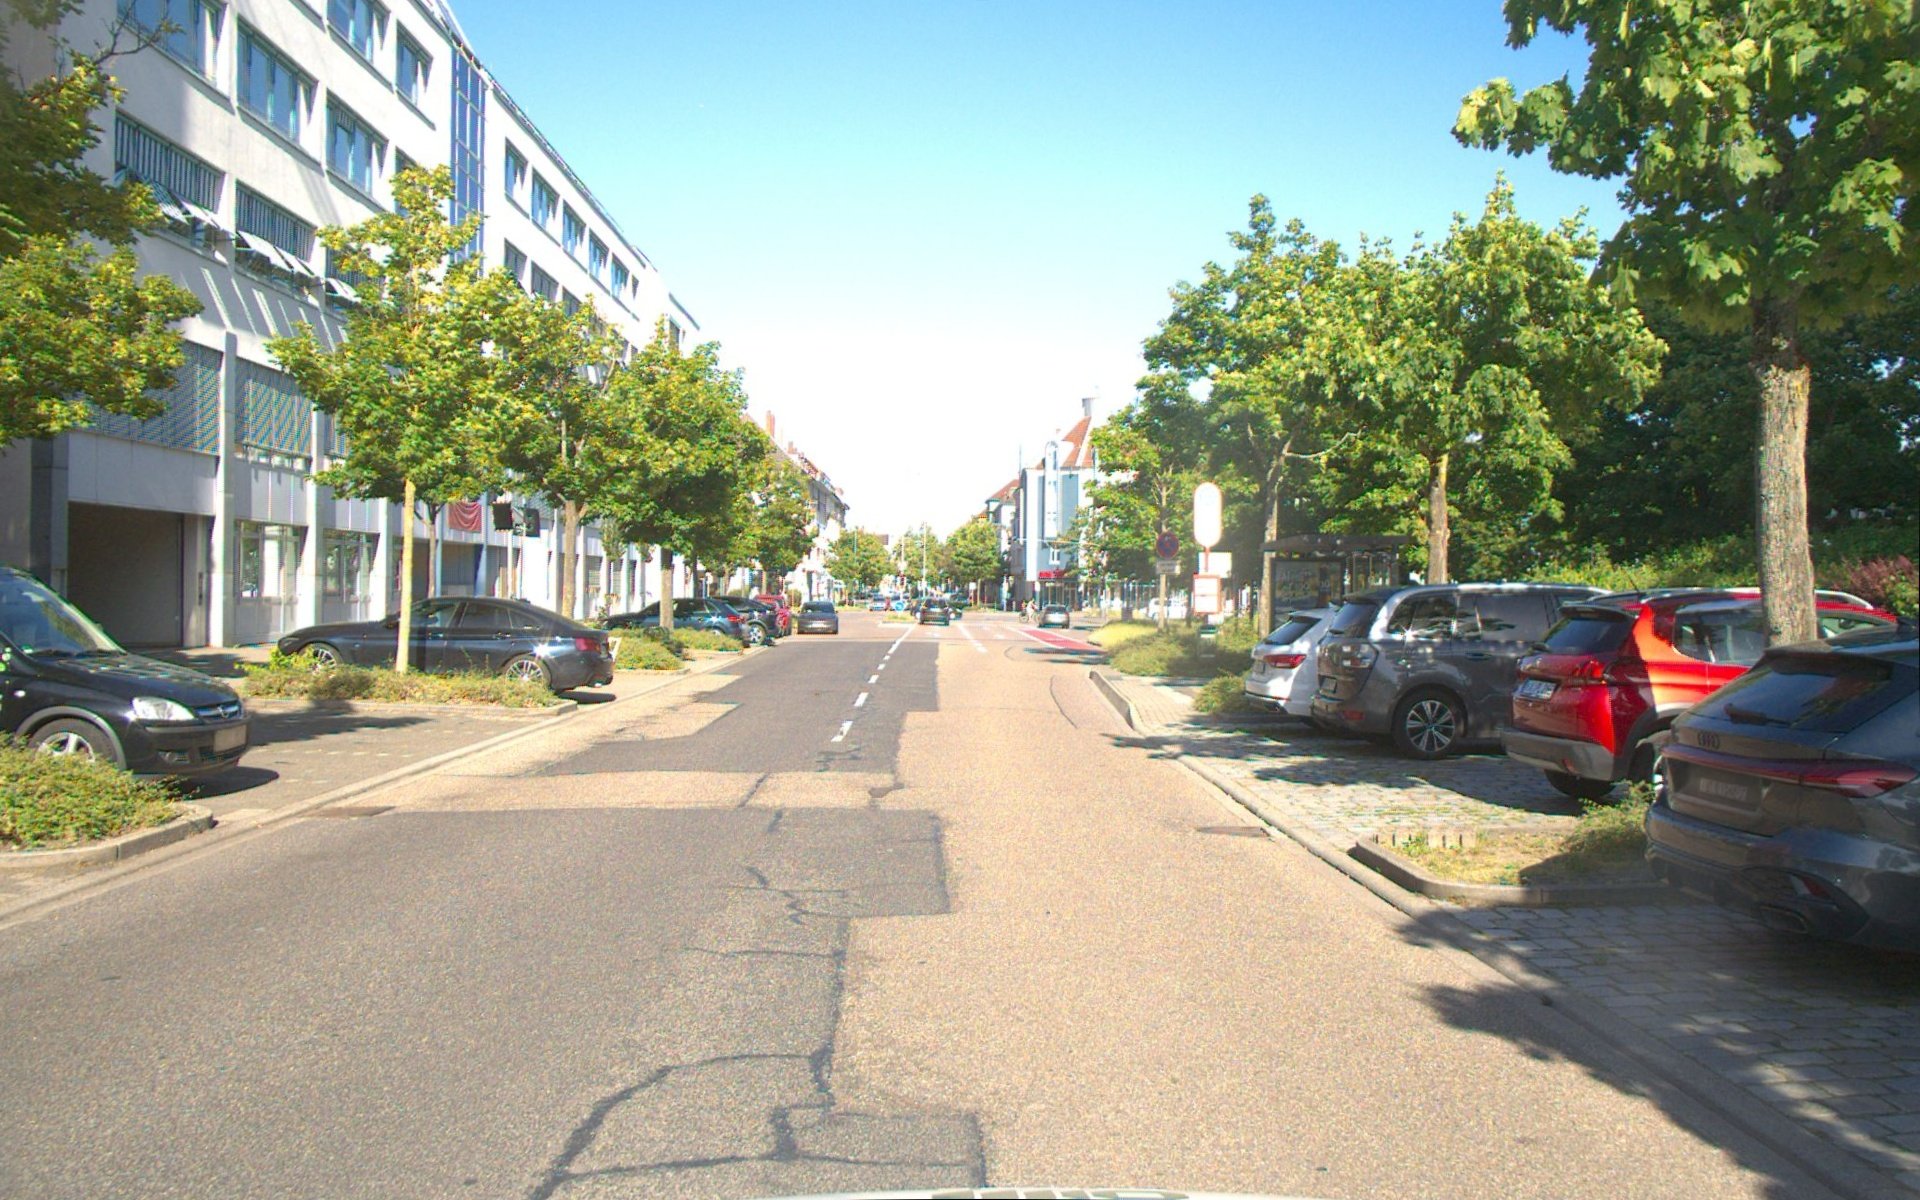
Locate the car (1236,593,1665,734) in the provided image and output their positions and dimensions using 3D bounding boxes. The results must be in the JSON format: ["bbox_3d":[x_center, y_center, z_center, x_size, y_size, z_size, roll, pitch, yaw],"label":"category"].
[{"bbox_3d":[5.468,0.685,18.815,4.312,1.489,1.895,0,0,-1],"label":"car"}]

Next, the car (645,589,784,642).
[{"bbox_3d":[-7.935,0.490,53.753,4.299,1.457,1.692,3,0,-4],"label":"car"}]

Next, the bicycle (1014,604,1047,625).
[{"bbox_3d":[4.912,1.000,115.064,2.216,1.371,0.790,0,0,34],"label":"bicycle"}]

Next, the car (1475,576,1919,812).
[{"bbox_3d":[6.209,0.623,12.069,4.312,1.563,1.876,0,0,-1],"label":"car"}]

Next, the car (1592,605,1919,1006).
[{"bbox_3d":[5.266,0.741,7.102,4.312,1.434,2.074,0,0,-1],"label":"car"}]

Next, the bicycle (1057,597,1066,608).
[{"bbox_3d":[9.415,0.206,153.594,0.463,1.045,1.511,0,0,-13],"label":"bicycle"}]

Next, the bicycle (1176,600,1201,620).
[{"bbox_3d":[16.130,0.694,116.751,0.777,1.371,2.254,0,0,36],"label":"bicycle"}]

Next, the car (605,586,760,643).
[{"bbox_3d":[-8.282,0.432,49.577,4.295,1.457,1.694,3,0,1],"label":"car"}]

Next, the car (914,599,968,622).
[{"bbox_3d":[-1.395,0.764,119.902,3.872,1.628,1.675,0,0,-3],"label":"car"}]

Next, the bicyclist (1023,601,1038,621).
[{"bbox_3d":[4.908,0.735,115.078,0.689,1.371,0.790,0,0,33],"label":"bicyclist"}]

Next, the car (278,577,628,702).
[{"bbox_3d":[-7.004,0.535,23.267,4.300,1.457,1.975,3,0,-5],"label":"car"}]

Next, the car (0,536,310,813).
[{"bbox_3d":[-7.257,0.419,11.947,4.296,1.775,1.847,3,0,0],"label":"car"}]

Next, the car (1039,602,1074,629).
[{"bbox_3d":[6.142,0.956,105.545,1.655,1.605,3.868,3,0,-4],"label":"car"}]

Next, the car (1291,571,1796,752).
[{"bbox_3d":[5.687,0.570,16.535,4.312,1.670,2.074,0,0,-1],"label":"car"}]

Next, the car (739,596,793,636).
[{"bbox_3d":[-7.596,0.610,64.953,1.654,1.457,3.870,3,0,-1],"label":"car"}]

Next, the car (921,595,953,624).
[{"bbox_3d":[-1.438,0.568,101.485,1.719,1.656,4.476,3,0,-2],"label":"car"}]

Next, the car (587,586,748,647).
[{"bbox_3d":[-8.238,0.459,46.890,4.300,1.457,1.692,3,0,-6],"label":"car"}]

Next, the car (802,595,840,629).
[{"bbox_3d":[-6.309,0.513,75.180,1.655,1.494,4.543,0,0,-4],"label":"car"}]

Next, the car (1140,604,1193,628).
[{"bbox_3d":[15.351,1.176,123.228,3.778,1.605,1.694,3,0,3],"label":"car"}]

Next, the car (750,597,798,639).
[{"bbox_3d":[-7.772,0.733,69.457,1.654,1.635,4.308,3,0,-3],"label":"car"}]

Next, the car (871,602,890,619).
[{"bbox_3d":[-8.160,1.065,170.324,1.718,1.583,3.731,3,0,0],"label":"car"}]

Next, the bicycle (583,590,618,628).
[{"bbox_3d":[-13.413,0.327,61.768,0.694,1.371,2.233,0,0,4],"label":"bicycle"}]
